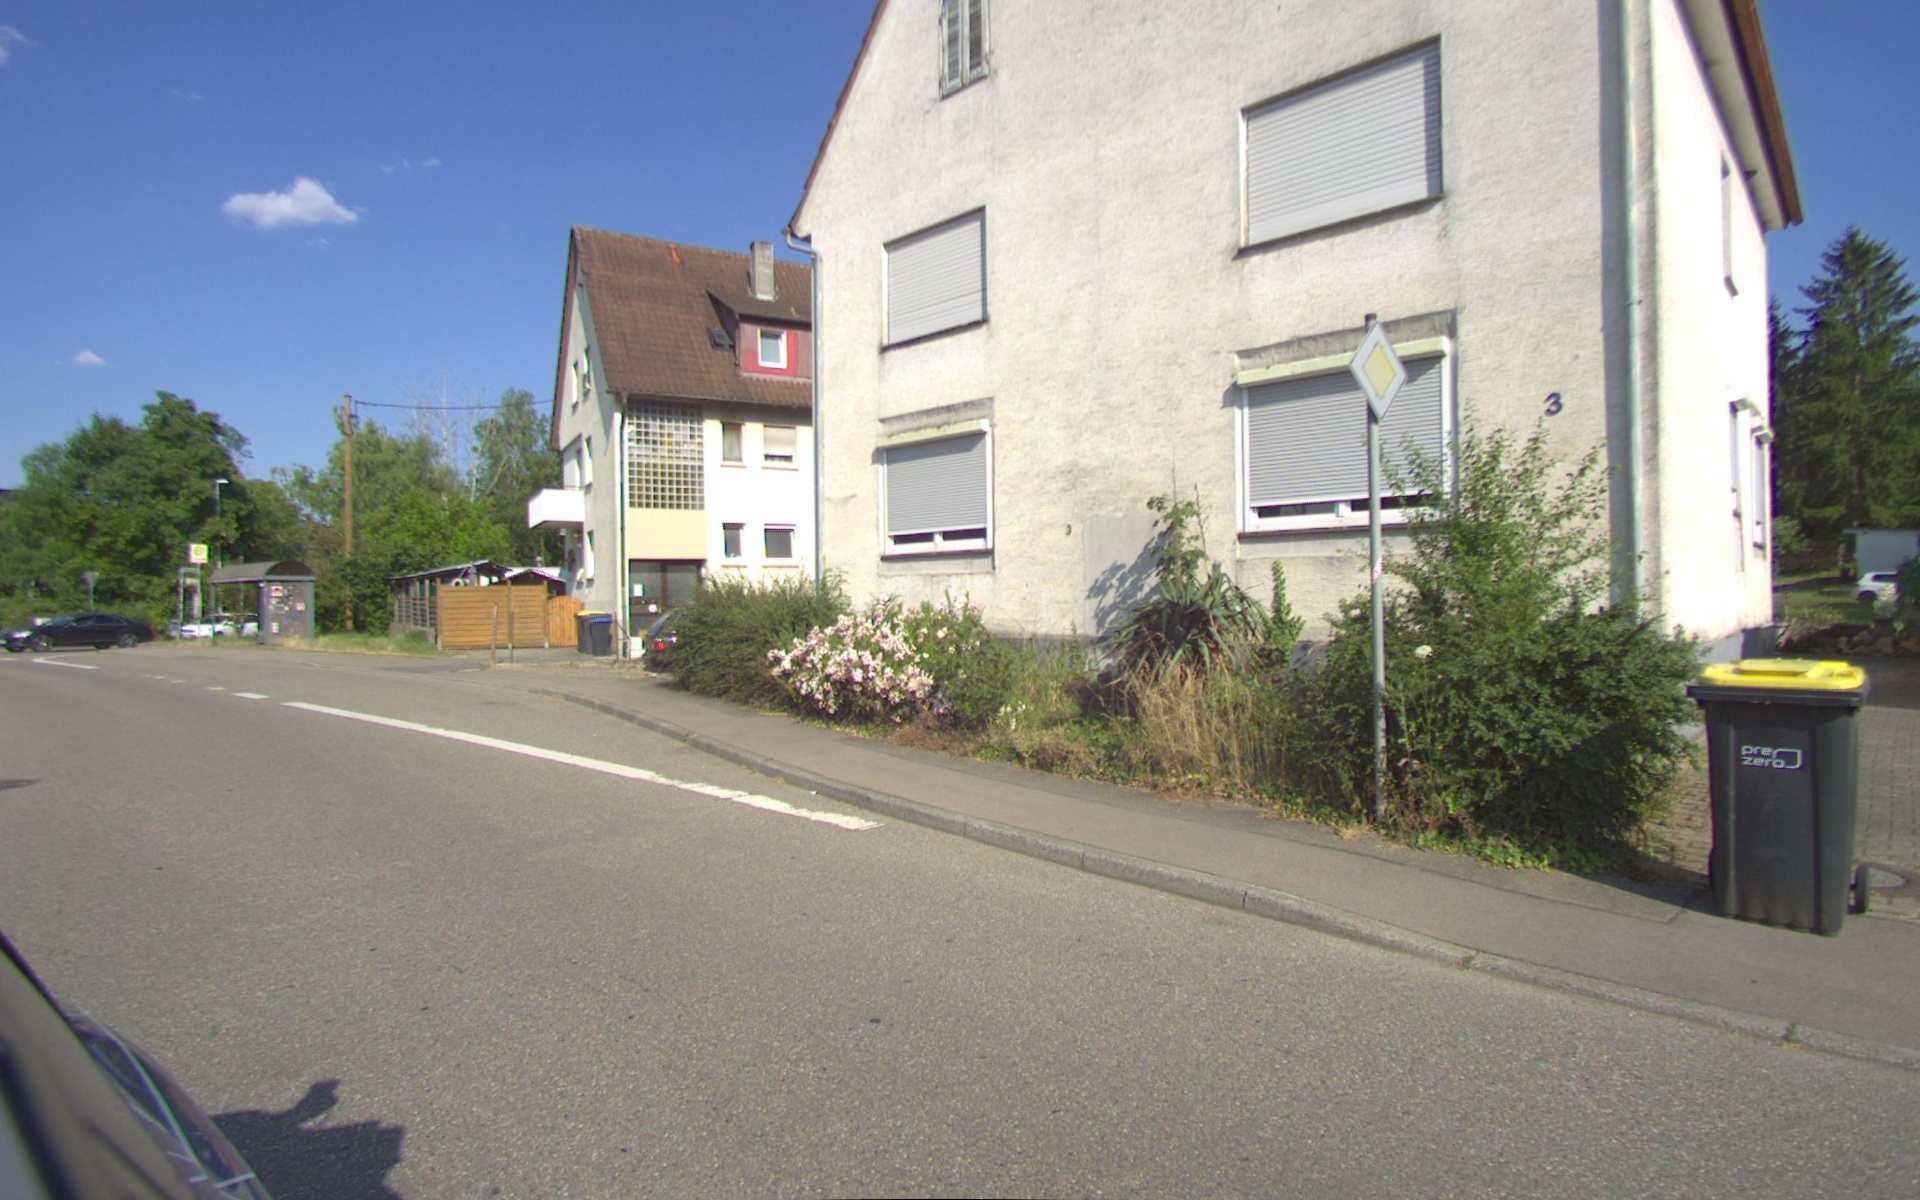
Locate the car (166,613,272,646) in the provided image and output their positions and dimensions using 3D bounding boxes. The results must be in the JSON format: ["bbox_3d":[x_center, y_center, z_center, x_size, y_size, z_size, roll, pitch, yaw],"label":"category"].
[{"bbox_3d":[-35.779,1.401,49.011,1.838,1.503,4.270,0,-1,4],"label":"car"}]

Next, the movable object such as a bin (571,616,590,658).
[{"bbox_3d":[-9.981,0.966,26.622,0.356,1.049,0.559,-1,1,-32],"label":"movable object such as a bin"}]

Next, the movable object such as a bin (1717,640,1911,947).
[{"bbox_3d":[3.550,0.745,4.218,0.575,1.109,0.604,-1,1,42],"label":"movable object such as a bin"}]

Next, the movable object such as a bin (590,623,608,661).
[{"bbox_3d":[-9.143,1.064,25.646,0.356,0.932,0.401,-1,1,-32],"label":"movable object such as a bin"}]

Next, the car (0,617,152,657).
[{"bbox_3d":[-35.255,1.434,40.176,1.757,1.442,4.813,-1,-1,19],"label":"car"}]

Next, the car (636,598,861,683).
[{"bbox_3d":[-4.019,0.722,19.196,3.931,1.444,1.658,-1,-1,-21],"label":"car"}]

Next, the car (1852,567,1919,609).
[{"bbox_3d":[40.684,-0.526,42.910,1.969,1.720,4.006,0,-1,-40],"label":"car"}]

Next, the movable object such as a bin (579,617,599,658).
[{"bbox_3d":[-9.586,0.970,26.128,0.356,1.030,0.578,-1,1,-32],"label":"movable object such as a bin"}]

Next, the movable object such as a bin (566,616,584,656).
[{"bbox_3d":[-10.341,0.961,27.165,0.356,1.023,0.559,-1,1,-32],"label":"movable object such as a bin"}]
